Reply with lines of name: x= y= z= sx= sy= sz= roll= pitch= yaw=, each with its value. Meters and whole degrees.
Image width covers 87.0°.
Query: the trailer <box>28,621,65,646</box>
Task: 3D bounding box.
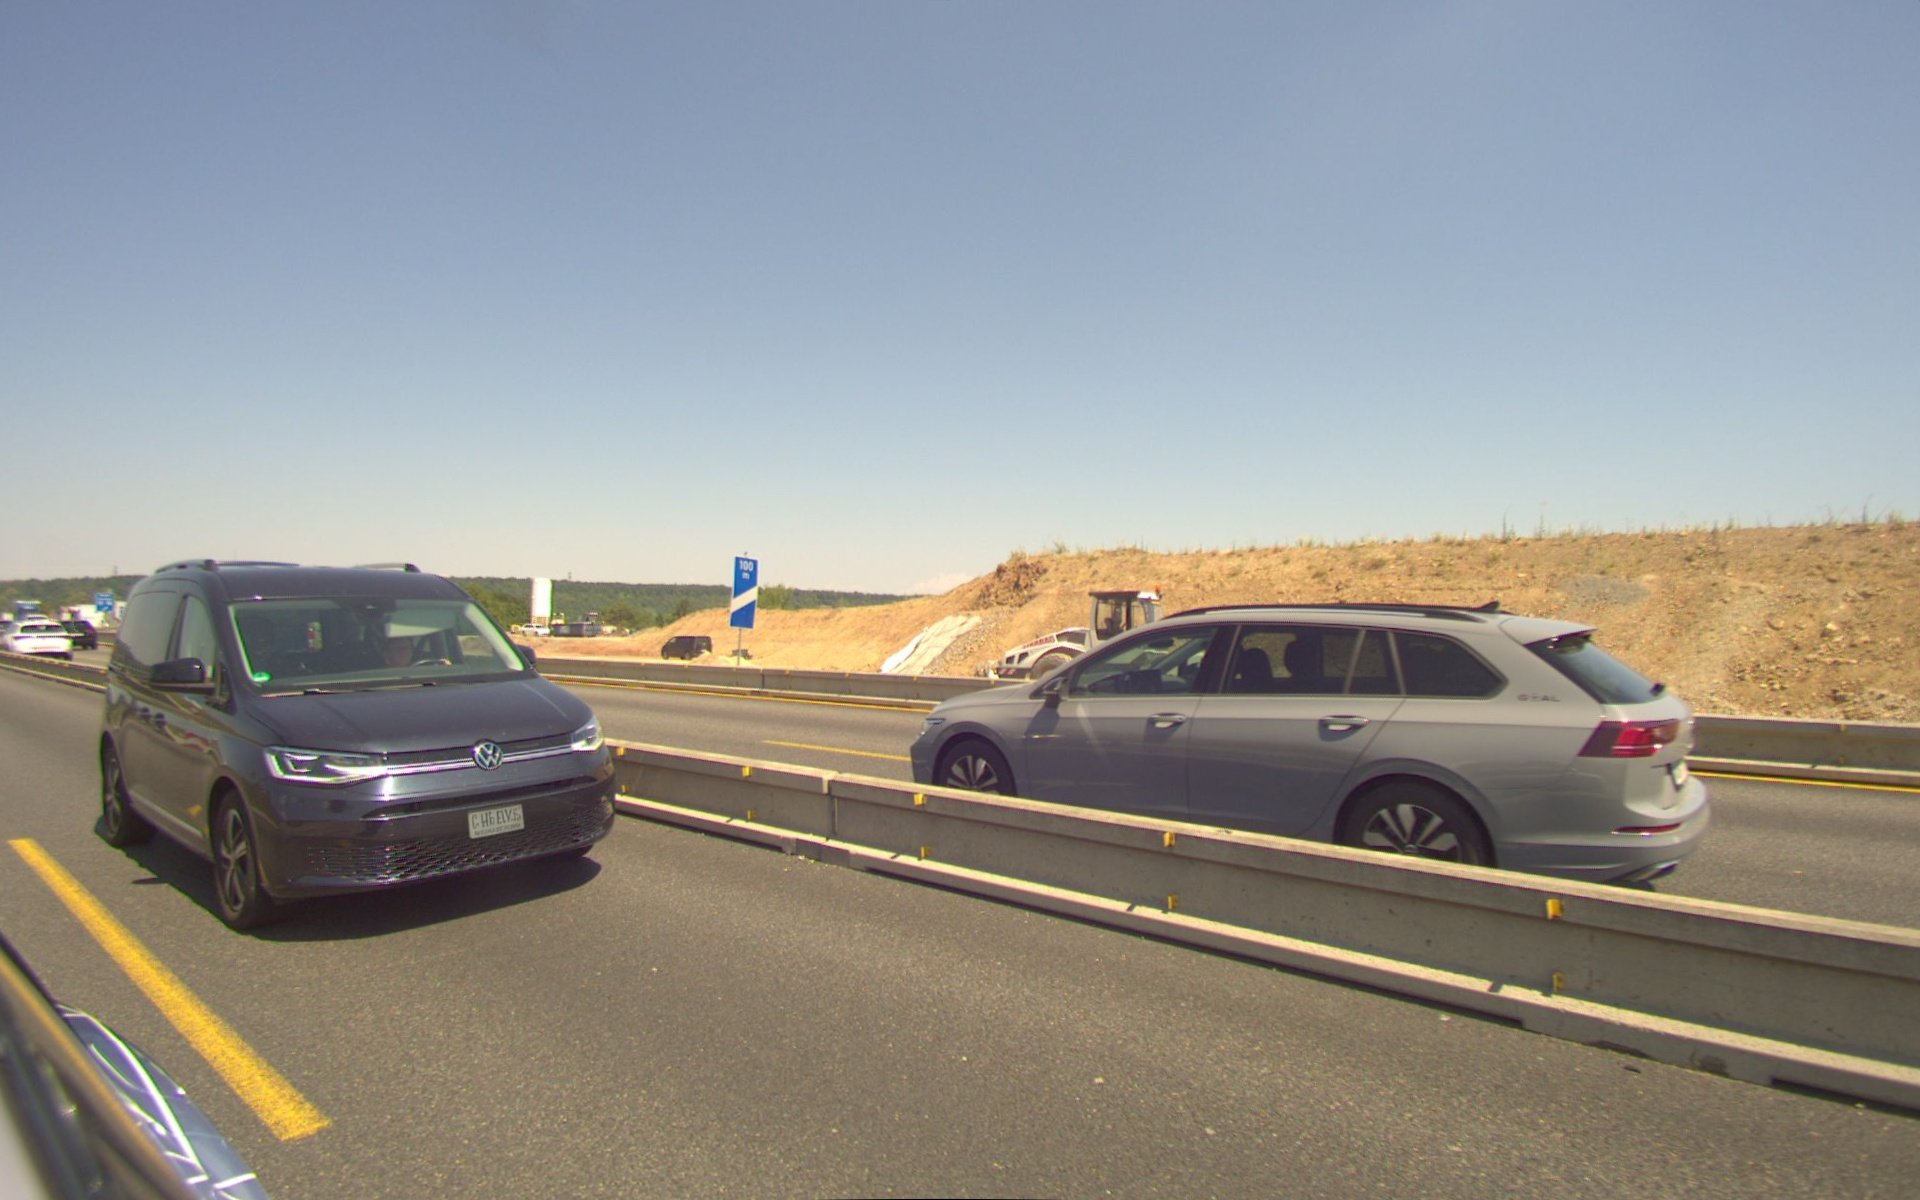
trailer: x=-76.073 y=2.805 z=84.227 sx=2.105 sy=1.997 sz=5.239 roll=3 pitch=-3 yaw=-43

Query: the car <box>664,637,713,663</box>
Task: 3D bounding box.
car: x=-22.110 y=4.055 z=82.390 sx=3.998 sy=2.029 sz=1.973 roll=-1 pitch=-2 yaw=41

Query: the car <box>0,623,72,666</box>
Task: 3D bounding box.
car: x=-33.120 y=1.547 z=35.963 sx=4.668 sy=1.453 sz=1.661 roll=-1 pitch=-2 yaw=40

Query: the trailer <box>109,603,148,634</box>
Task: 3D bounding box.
trailer: x=-117.591 y=2.643 z=143.304 sx=2.722 sy=4.146 sz=14.015 roll=1 pitch=-2 yaw=-33

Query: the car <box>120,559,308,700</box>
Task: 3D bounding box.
car: x=-15.047 y=0.583 z=20.294 sx=5.355 sy=2.487 sz=1.935 roll=-2 pitch=-2 yaw=41

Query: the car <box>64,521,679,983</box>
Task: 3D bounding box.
car: x=-3.851 y=0.626 z=6.197 sx=4.601 sy=1.803 sz=1.901 roll=-1 pitch=-1 yaw=41

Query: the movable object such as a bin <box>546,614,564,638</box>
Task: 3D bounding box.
movable object such as a bin: x=-54.253 y=3.531 z=135.468 sx=1.965 sy=3.165 sz=4.500 roll=0 pitch=-2 yaw=-25

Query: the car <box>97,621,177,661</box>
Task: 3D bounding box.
car: x=-32.549 y=1.577 z=39.988 sx=4.390 sy=1.490 sz=1.707 roll=-1 pitch=-2 yaw=41

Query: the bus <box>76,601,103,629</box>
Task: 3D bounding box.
bus: x=-102.603 y=1.805 z=119.310 sx=2.320 sy=3.149 sz=7.238 roll=1 pitch=-2 yaw=-41

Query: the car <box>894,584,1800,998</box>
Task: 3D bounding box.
car: x=1.849 y=0.718 z=5.810 sx=4.522 sy=1.487 sz=1.768 roll=-1 pitch=-1 yaw=41

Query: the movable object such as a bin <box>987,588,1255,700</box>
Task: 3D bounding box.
movable object such as a bin: x=3.783 y=1.043 z=25.164 sx=6.741 sy=2.480 sz=1.684 roll=-1 pitch=-2 yaw=41

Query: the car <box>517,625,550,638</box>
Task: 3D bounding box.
car: x=-49.164 y=3.643 z=116.723 sx=4.441 sy=1.420 sz=1.596 roll=-1 pitch=-2 yaw=39
